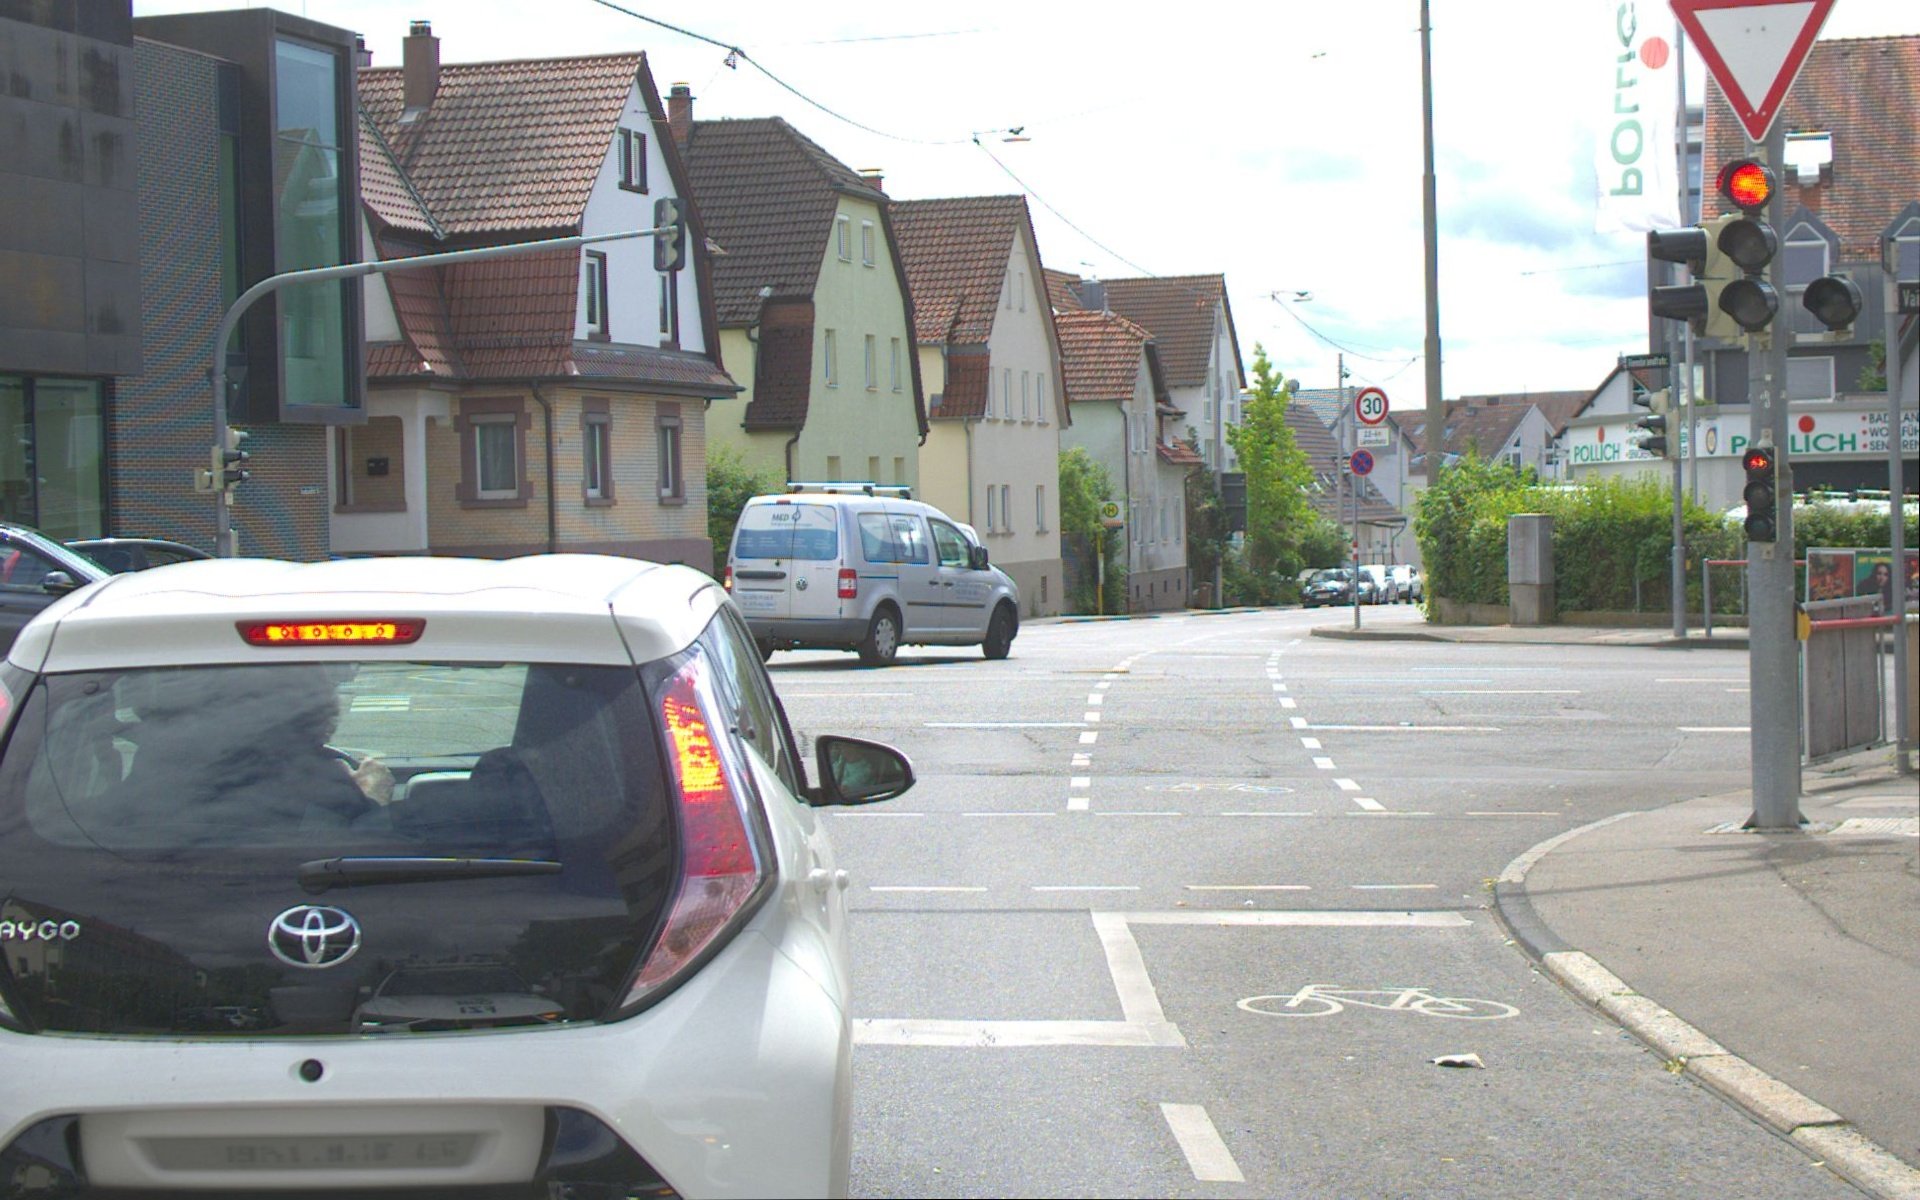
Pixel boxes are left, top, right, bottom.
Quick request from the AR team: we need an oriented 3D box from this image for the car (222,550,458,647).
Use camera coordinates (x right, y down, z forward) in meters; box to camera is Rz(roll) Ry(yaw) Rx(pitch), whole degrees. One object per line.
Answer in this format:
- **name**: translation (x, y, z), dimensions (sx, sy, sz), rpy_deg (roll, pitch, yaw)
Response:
- **car**: translation (-10.657, -0.042, 59.164), dimensions (3.616, 1.600, 1.691), rpy_deg (1, 1, 11)

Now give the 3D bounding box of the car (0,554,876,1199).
- **car**: translation (-1.037, 0.648, 6.503), dimensions (1.697, 1.451, 3.299), rpy_deg (0, 1, -2)

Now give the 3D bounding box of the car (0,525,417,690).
- **car**: translation (-7.393, 0.049, 32.556), dimensions (3.986, 1.481, 2.000), rpy_deg (0, 1, -30)

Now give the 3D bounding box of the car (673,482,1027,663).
- **car**: translation (-1.136, -0.319, 37.458), dimensions (1.997, 1.842, 4.066), rpy_deg (1, 1, 30)

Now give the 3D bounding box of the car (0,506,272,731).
- **car**: translation (-7.559, 0.130, 26.744), dimensions (4.291, 1.670, 2.001), rpy_deg (-1, 1, -11)

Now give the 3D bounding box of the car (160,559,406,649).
- **car**: translation (-11.214, 0.052, 57.042), dimensions (3.616, 1.414, 1.691), rpy_deg (1, 1, 11)

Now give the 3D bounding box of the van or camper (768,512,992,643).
- **van or camper**: translation (-1.181, -0.384, 53.762), dimensions (2.117, 1.919, 5.282), rpy_deg (1, 1, 15)
